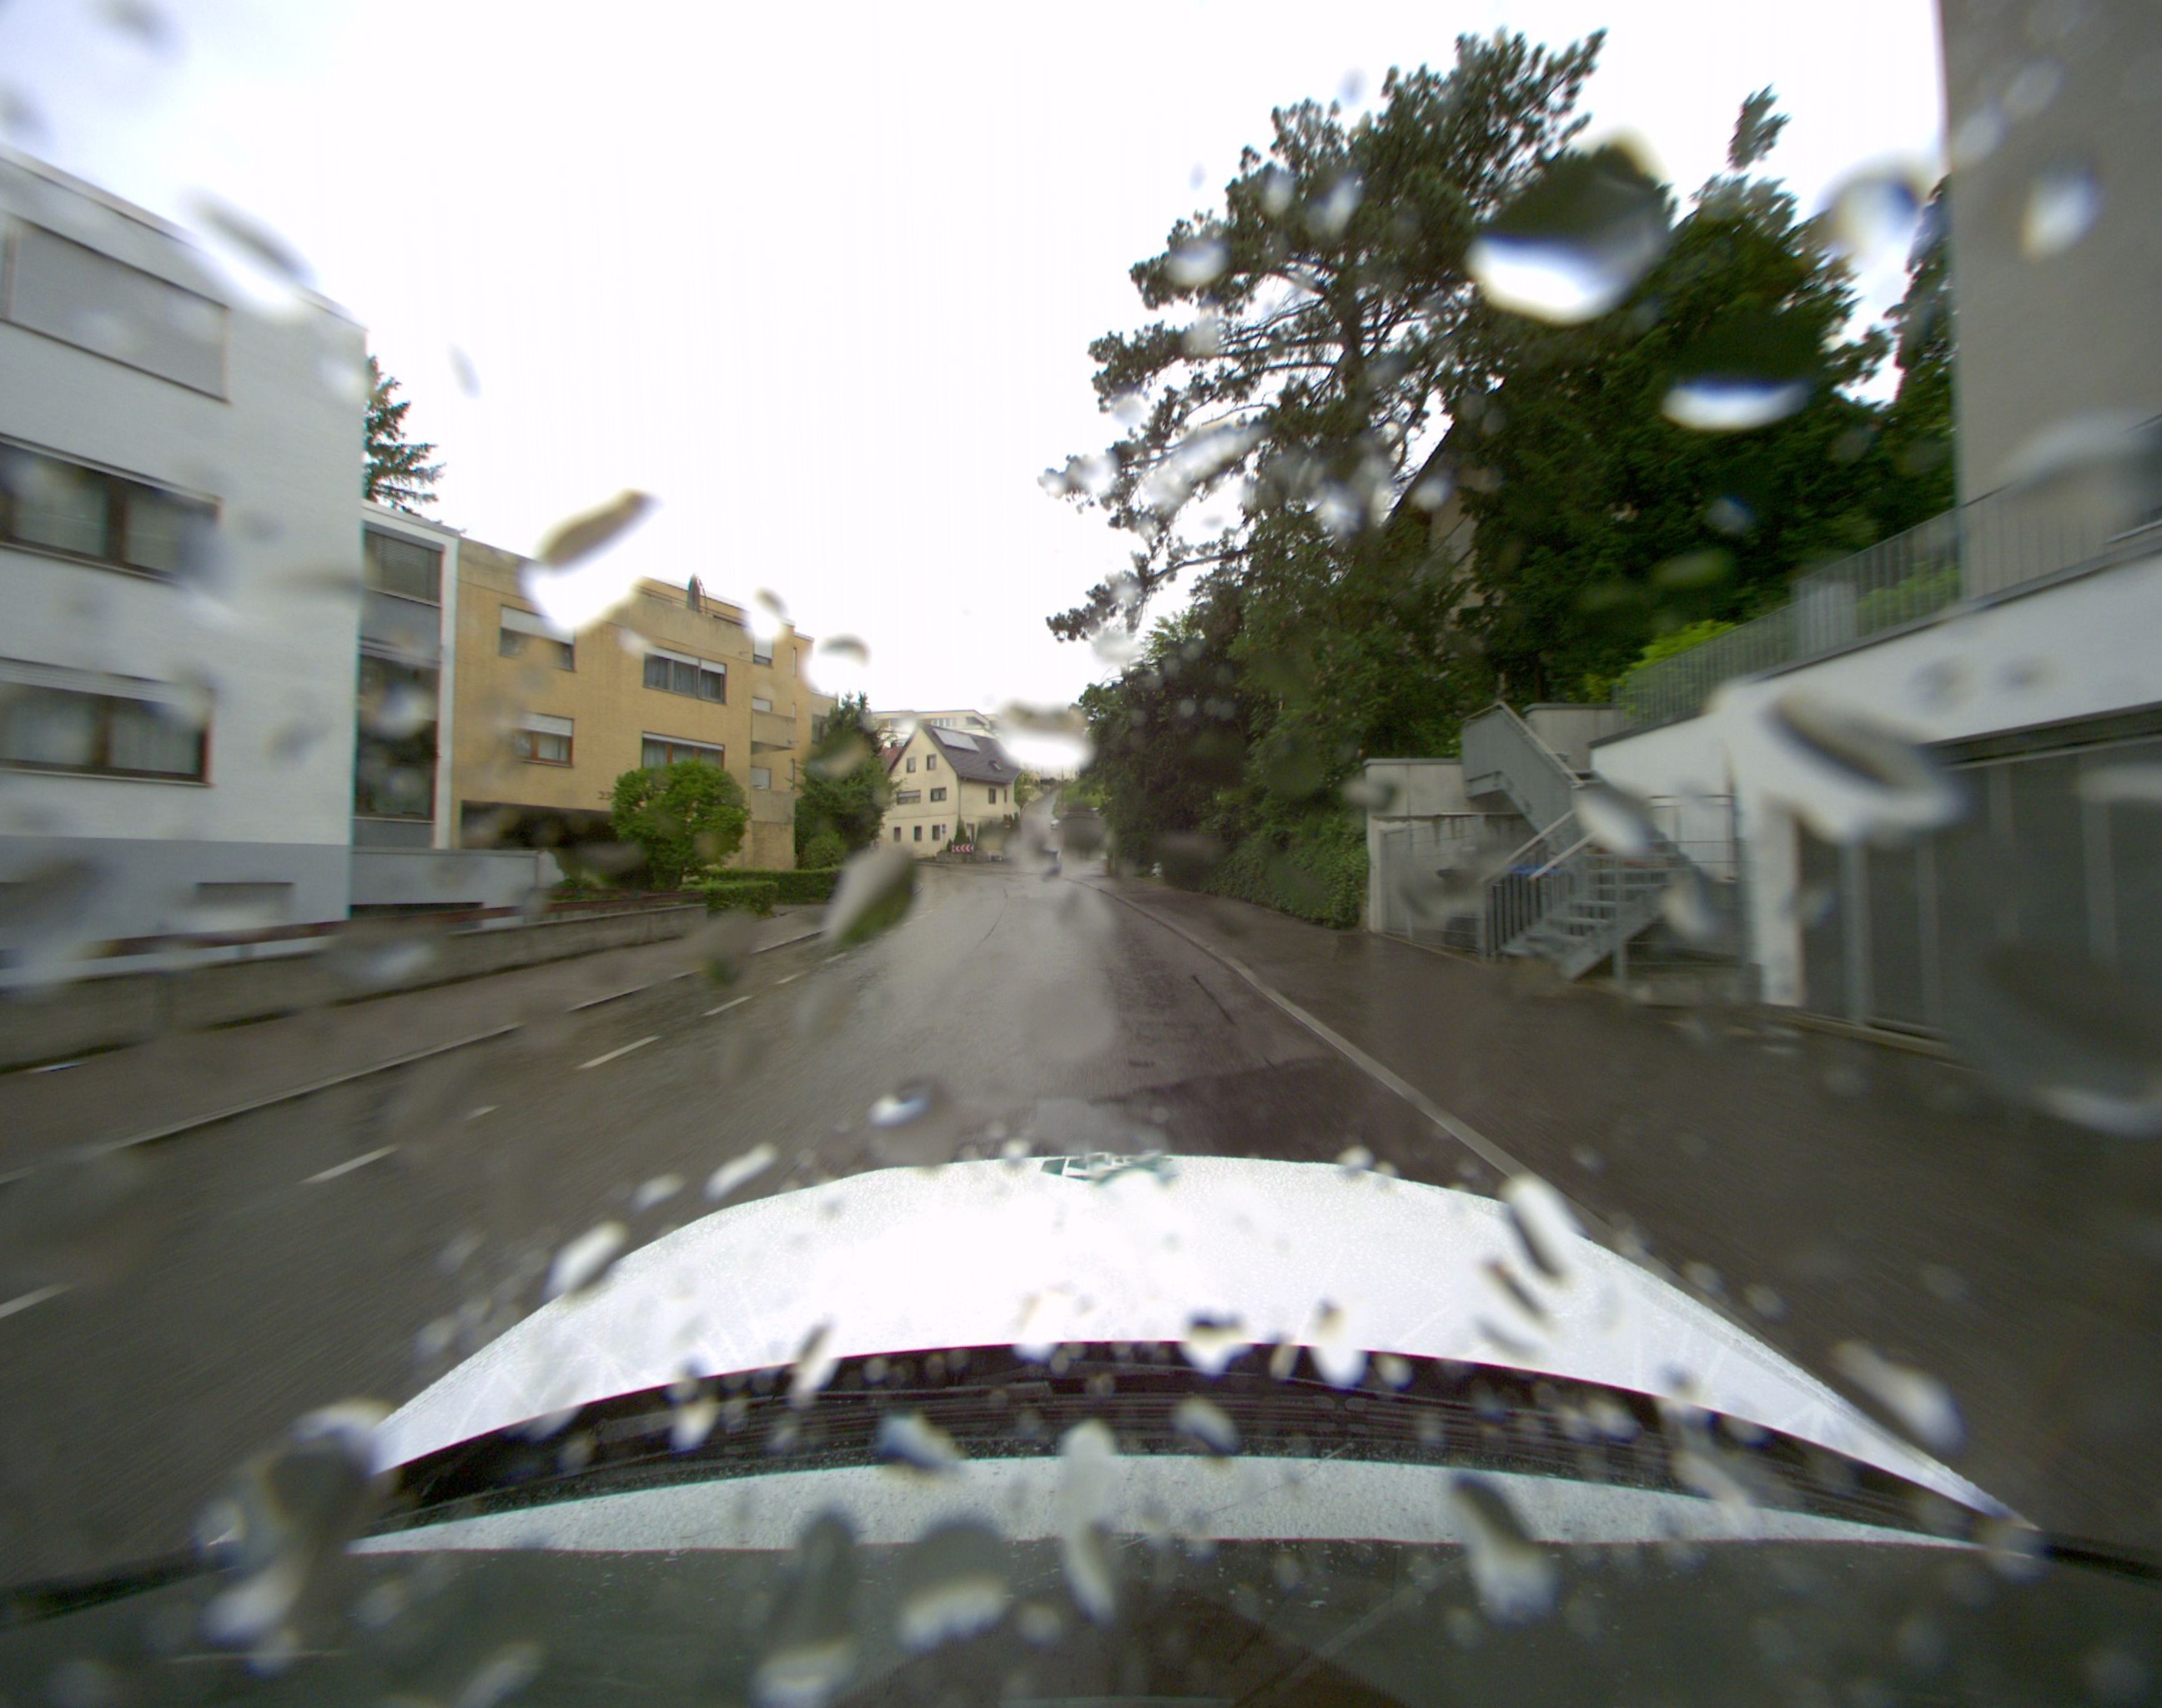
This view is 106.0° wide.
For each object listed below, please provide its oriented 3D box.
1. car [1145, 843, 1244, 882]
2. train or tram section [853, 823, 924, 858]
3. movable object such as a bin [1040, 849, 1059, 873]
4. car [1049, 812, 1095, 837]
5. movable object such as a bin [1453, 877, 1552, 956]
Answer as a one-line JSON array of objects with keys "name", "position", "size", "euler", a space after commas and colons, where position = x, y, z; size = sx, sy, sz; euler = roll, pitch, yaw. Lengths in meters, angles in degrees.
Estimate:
[{"name": "car", "position": [5.103, 0.364, 36.928], "size": [4.135, 1.476, 1.902], "euler": [-3, 1, -4]}, {"name": "train or tram section", "position": [-18.322, -1.332, 77.915], "size": [2.335, 3.203, 6.914], "euler": [-1, 1, 32]}, {"name": "movable object such as a bin", "position": [-1.920, 0.402, 49.994], "size": [1.078, 1.442, 1.457], "euler": [0, 0, 0]}, {"name": "car", "position": [-1.026, -3.314, 91.327], "size": [4.939, 2.569, 1.900], "euler": [-3, 0, -8]}, {"name": "movable object such as a bin", "position": [5.397, 0.781, 10.471], "size": [0.872, 0.941, 0.746], "euler": [-1, 0, -1]}]
